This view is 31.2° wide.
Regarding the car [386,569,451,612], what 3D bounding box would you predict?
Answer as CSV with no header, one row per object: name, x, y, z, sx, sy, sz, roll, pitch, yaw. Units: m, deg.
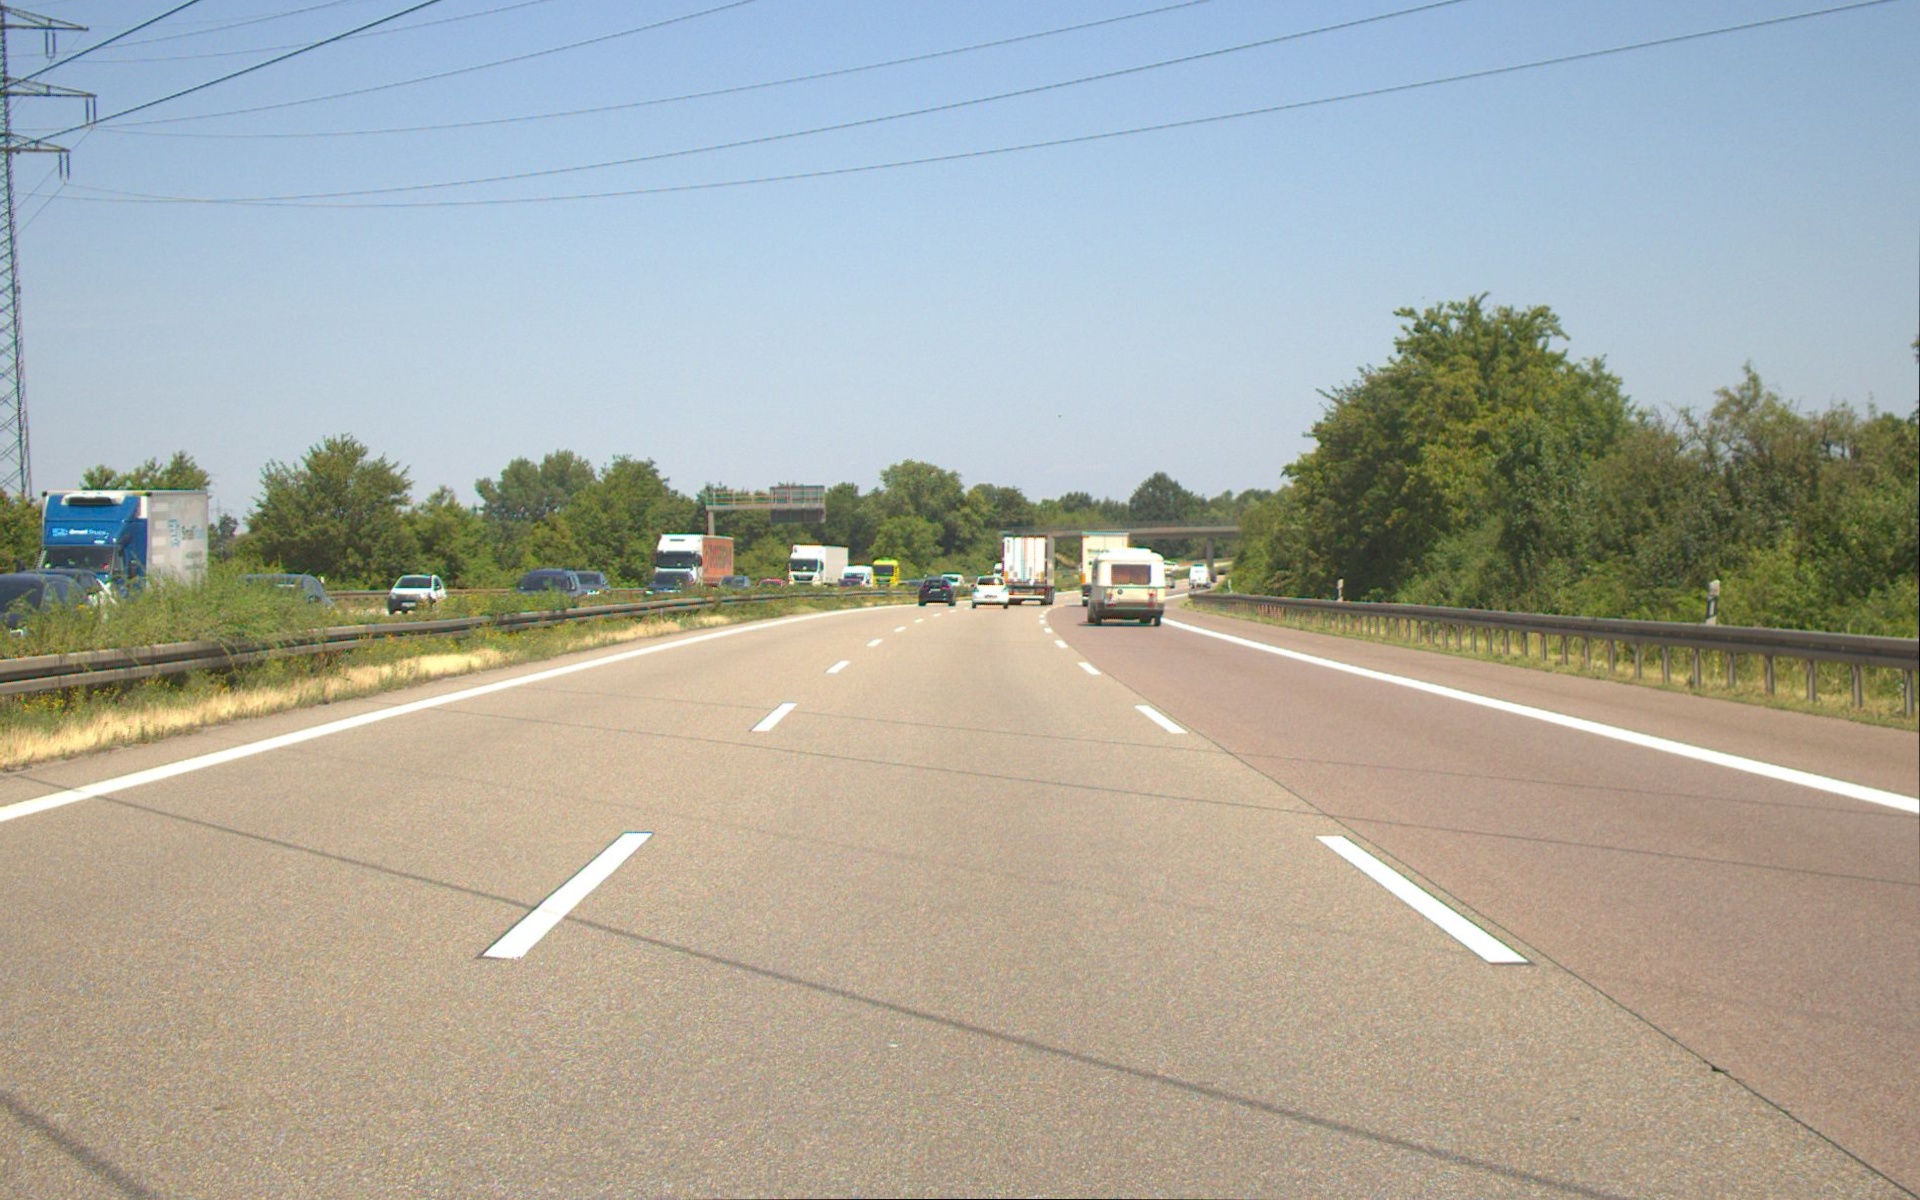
car,-19.601,-0.350,124.515,1.665,1.527,4.280,0,0,0

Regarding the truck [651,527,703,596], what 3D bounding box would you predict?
truck,-16.810,-2.296,204.510,2.482,4.005,4.602,1,1,2

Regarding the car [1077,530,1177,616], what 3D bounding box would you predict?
car,4.712,-0.799,97.942,2.442,2.313,5.322,-1,2,-1

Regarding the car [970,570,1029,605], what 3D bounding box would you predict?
car,1.885,-0.597,161.135,1.829,1.542,4.316,1,1,13

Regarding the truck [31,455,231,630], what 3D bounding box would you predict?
truck,-20.150,-1.438,84.142,2.453,3.962,9.672,-2,1,0

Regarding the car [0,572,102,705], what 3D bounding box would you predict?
car,-13.310,0.468,46.830,1.993,1.612,5.017,1,1,0

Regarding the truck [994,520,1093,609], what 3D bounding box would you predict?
truck,5.031,-2.212,202.998,3.668,5.001,16.012,1,1,9

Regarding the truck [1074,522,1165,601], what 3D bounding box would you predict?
truck,9.107,-2.273,194.559,3.182,4.289,16.011,1,1,10

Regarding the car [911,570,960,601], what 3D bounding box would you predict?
car,-1.268,-0.769,178.086,1.828,1.542,4.317,1,1,9
